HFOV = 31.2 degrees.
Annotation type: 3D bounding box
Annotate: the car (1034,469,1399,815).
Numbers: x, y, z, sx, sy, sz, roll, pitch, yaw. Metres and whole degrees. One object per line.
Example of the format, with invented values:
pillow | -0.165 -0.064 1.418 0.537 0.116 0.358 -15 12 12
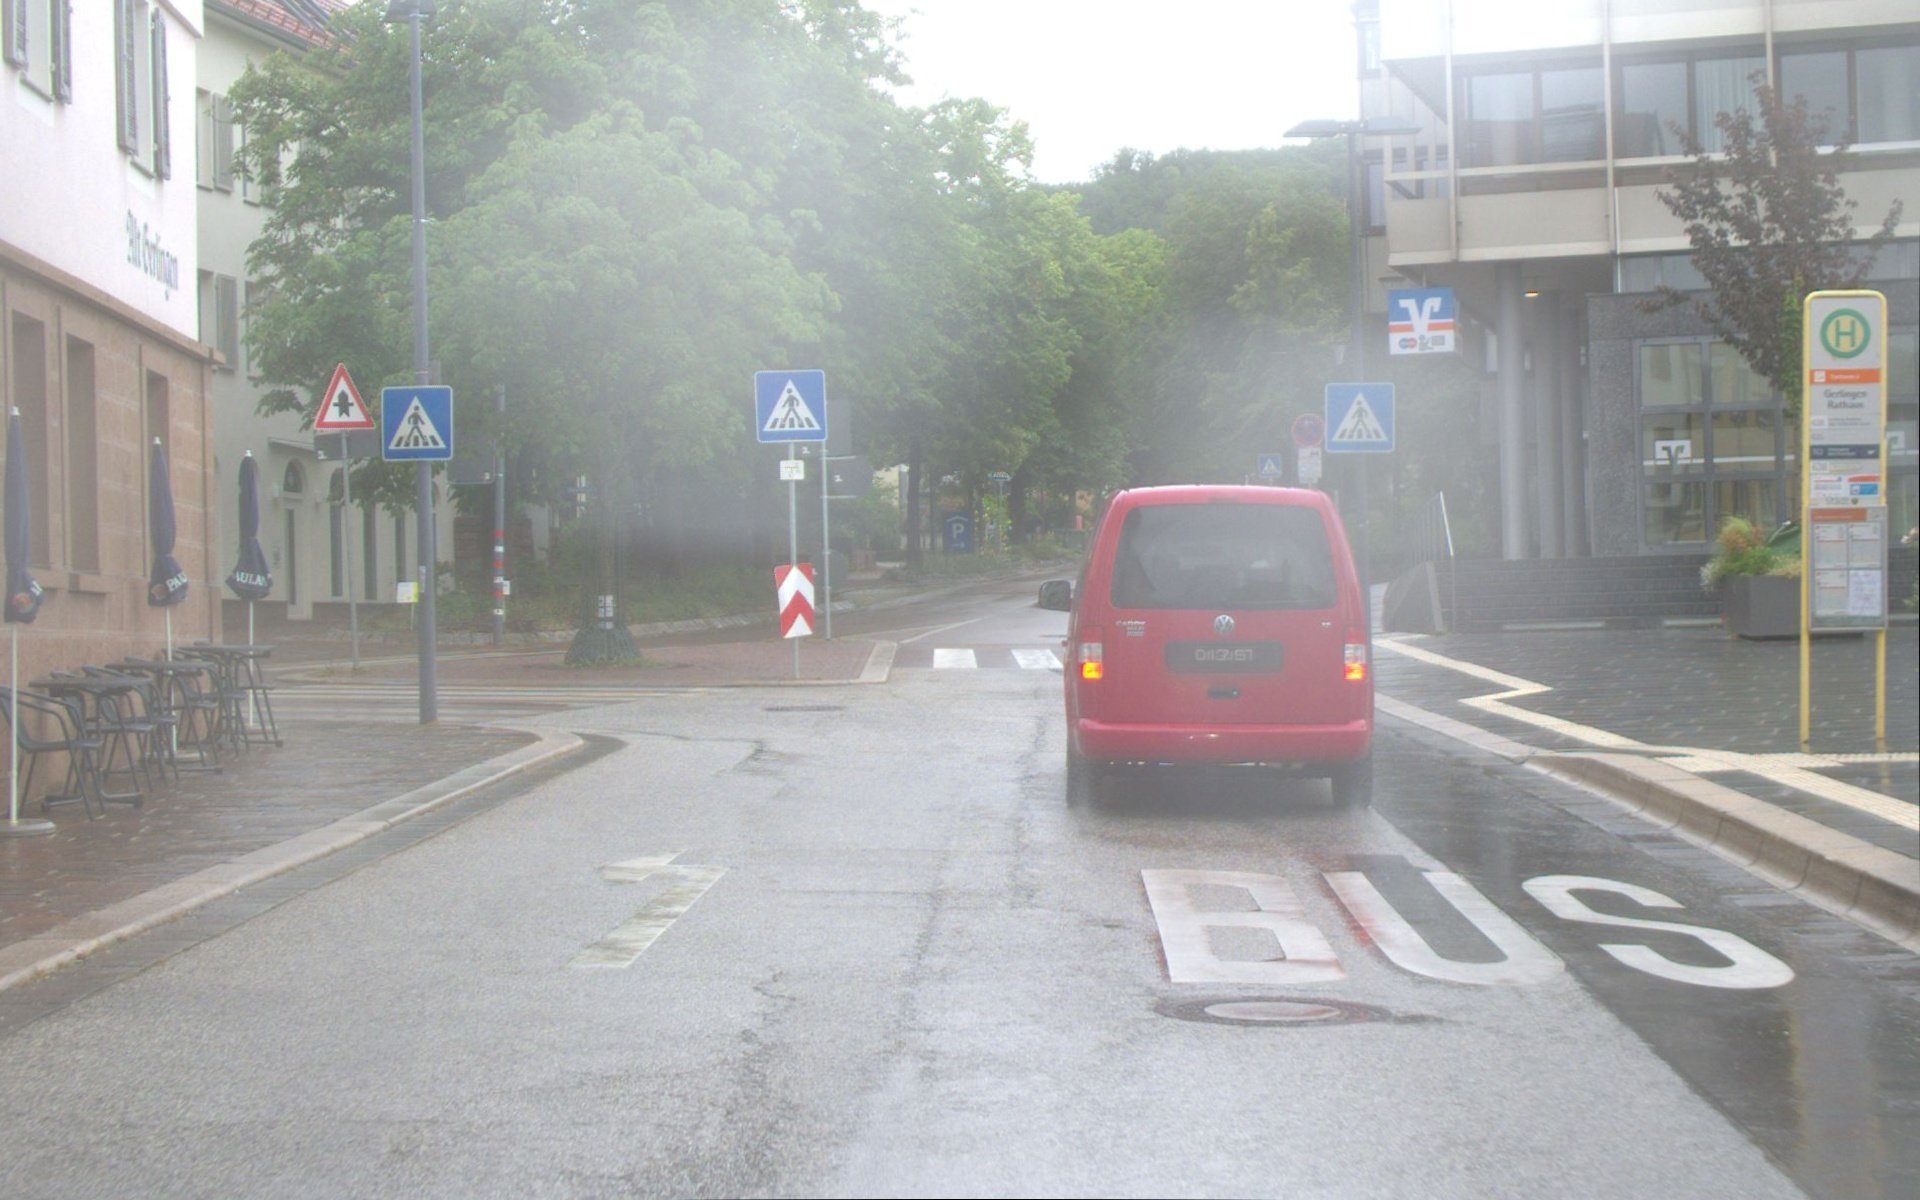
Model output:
car | 1.427 0.215 20.647 1.862 1.824 4.185 -1 0 0
